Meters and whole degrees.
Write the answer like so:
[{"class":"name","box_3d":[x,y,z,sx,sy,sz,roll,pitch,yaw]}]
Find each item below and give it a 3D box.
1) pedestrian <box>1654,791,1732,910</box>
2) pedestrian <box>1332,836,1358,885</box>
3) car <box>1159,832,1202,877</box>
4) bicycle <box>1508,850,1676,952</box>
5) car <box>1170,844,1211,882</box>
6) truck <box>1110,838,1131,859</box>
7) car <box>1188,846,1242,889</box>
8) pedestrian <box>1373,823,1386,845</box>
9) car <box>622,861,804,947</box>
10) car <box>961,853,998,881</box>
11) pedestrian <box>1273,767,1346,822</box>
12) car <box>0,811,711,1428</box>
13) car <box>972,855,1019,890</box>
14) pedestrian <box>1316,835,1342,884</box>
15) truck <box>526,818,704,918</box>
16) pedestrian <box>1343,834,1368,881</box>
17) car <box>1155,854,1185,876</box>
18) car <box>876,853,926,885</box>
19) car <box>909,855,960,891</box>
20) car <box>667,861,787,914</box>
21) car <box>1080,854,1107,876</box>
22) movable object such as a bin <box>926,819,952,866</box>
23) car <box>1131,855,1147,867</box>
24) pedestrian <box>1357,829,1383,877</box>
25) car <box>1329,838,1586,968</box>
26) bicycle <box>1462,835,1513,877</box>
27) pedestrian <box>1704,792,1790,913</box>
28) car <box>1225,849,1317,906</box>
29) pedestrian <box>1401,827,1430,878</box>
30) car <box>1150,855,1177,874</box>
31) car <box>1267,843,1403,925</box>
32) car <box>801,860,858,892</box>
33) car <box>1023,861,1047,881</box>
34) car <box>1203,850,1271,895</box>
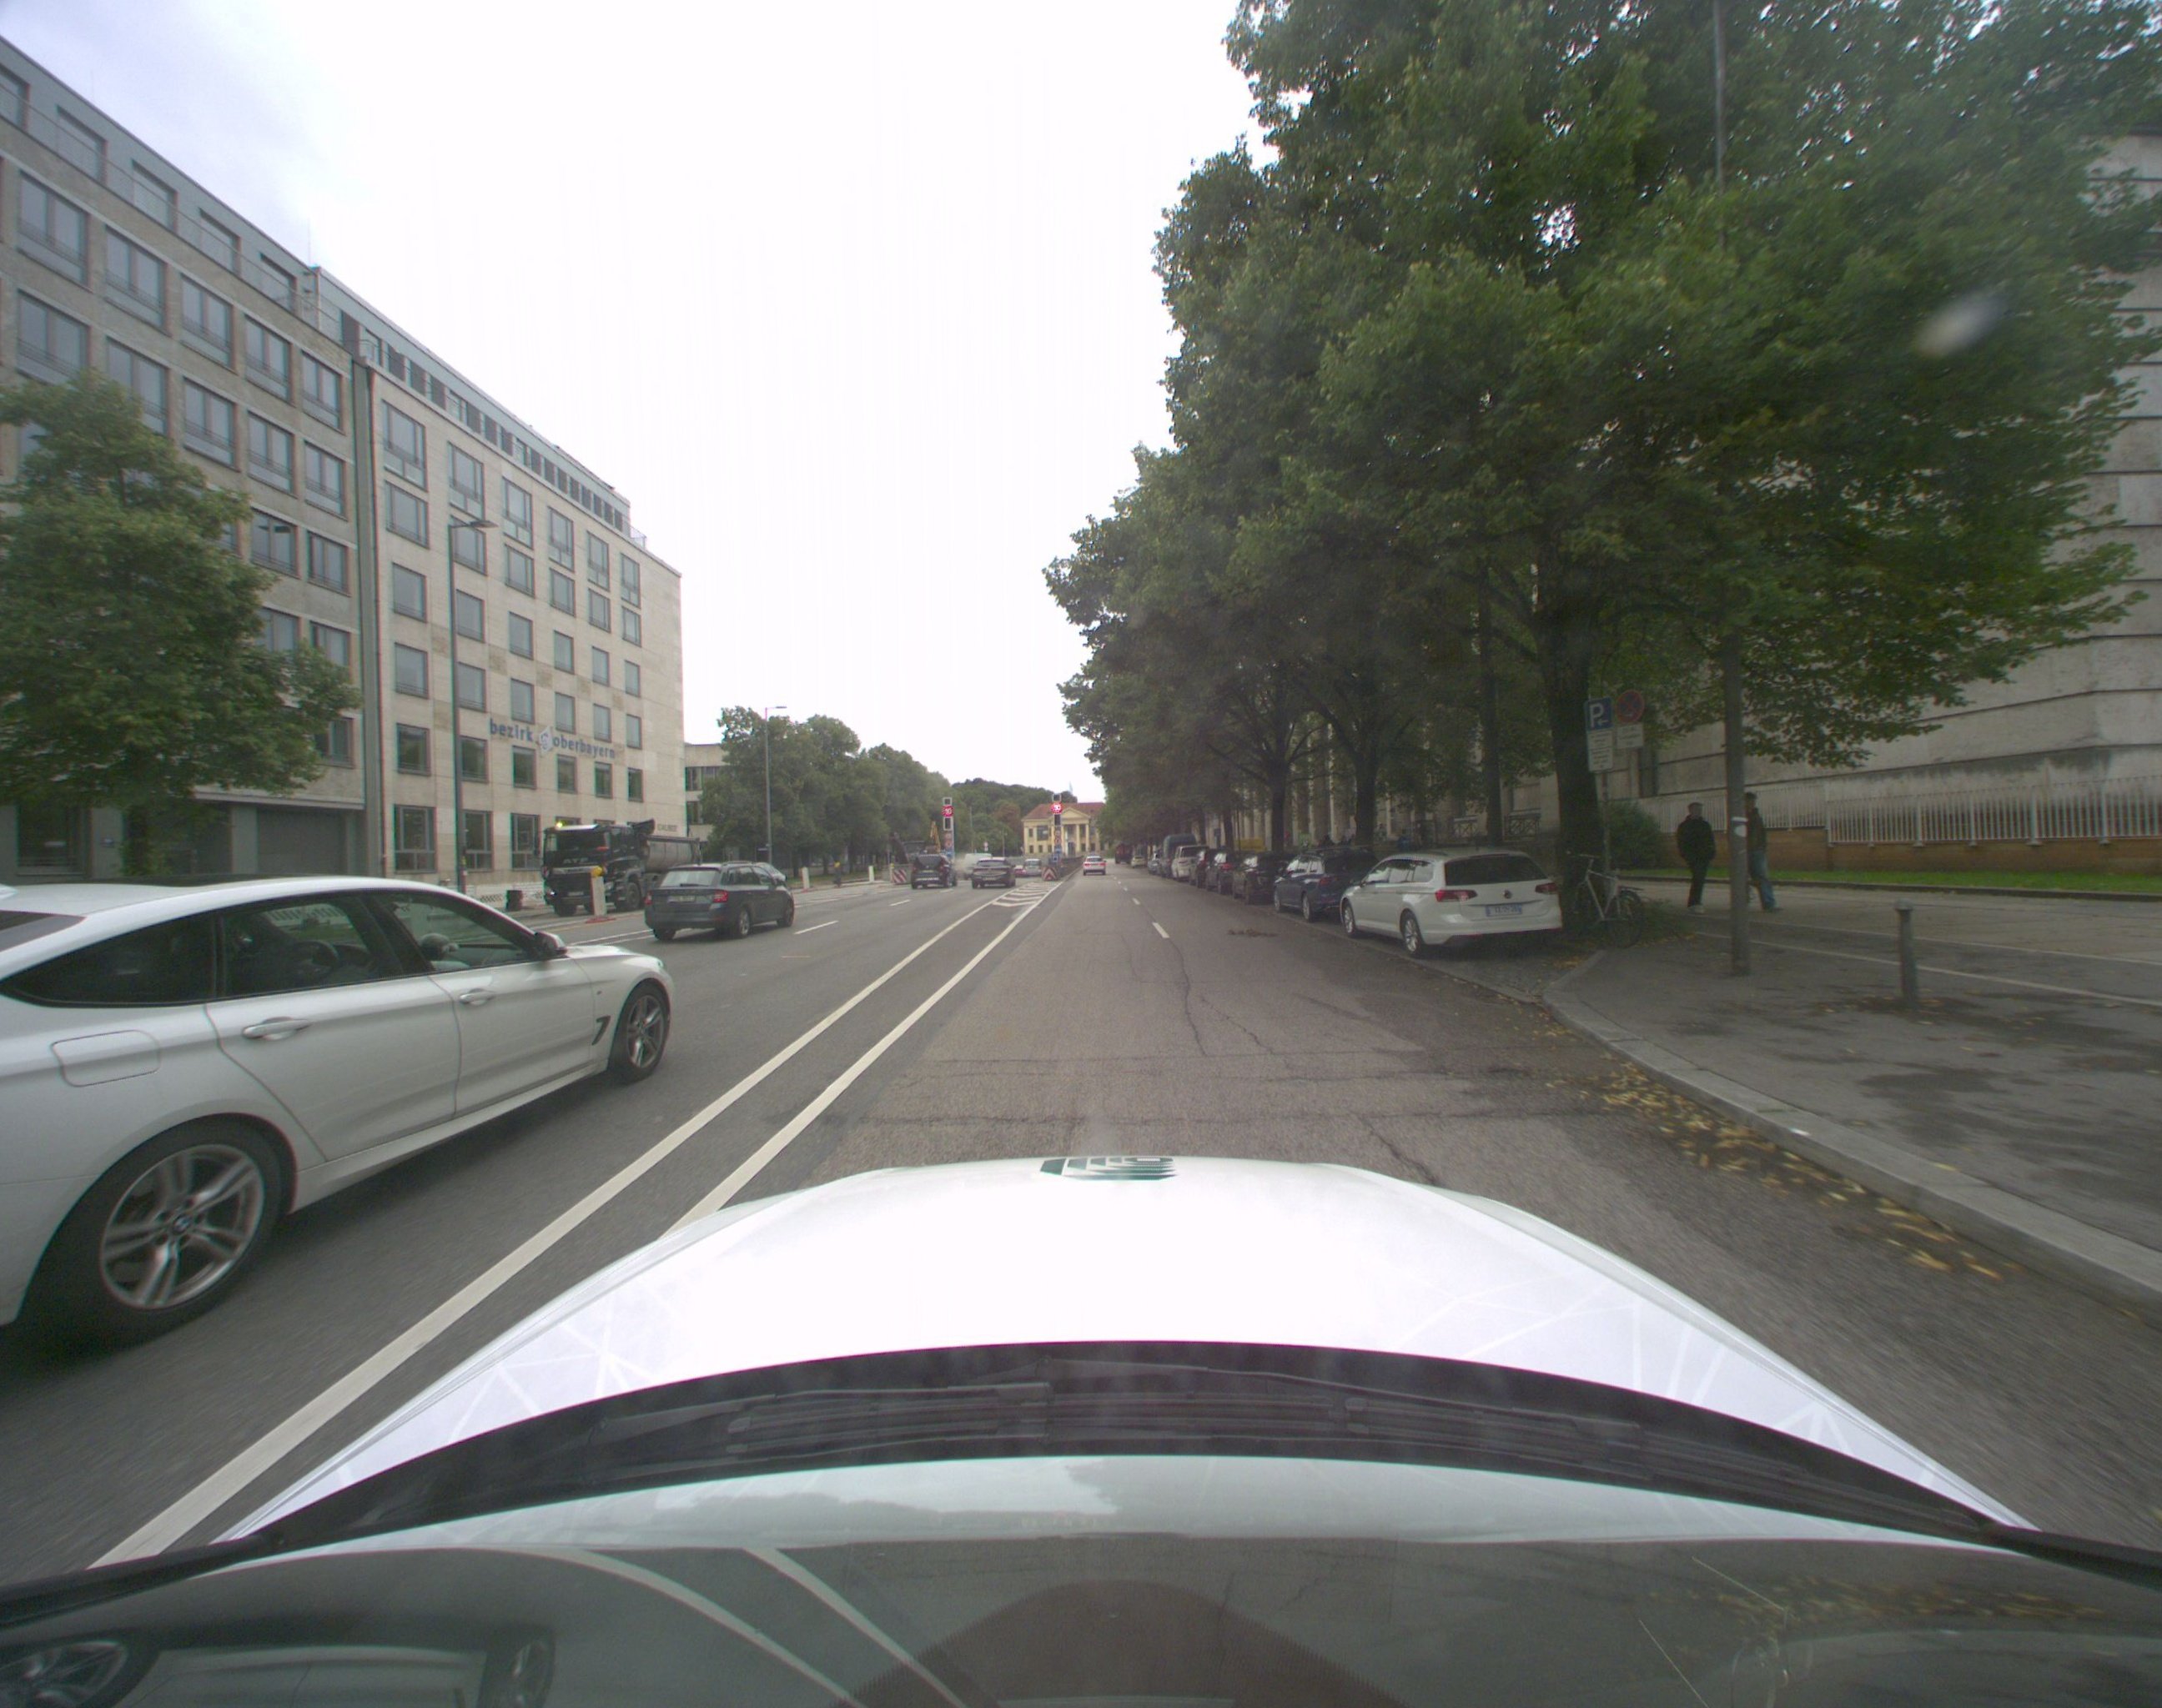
[{"class":"pedestrian","box_3d":[10.101,-0.058,13.470,0.696,1.910,0.771,-1,0,1]},{"class":"pedestrian","box_3d":[10.640,0.259,32.834,0.776,1.910,0.771,-1,0,1]},{"class":"car","box_3d":[6.102,0.010,50.408,1.987,2.643,4.877,-1,0,0]},{"class":"bicycle","box_3d":[6.875,0.565,11.165,0.626,1.231,2.617,-1,0,-1]},{"class":"car","box_3d":[5.822,0.475,43.661,1.718,1.867,4.029,-2,0,2]},{"class":"truck","box_3d":[6.490,-0.845,134.981,3.313,3.367,8.664,-1,0,1]},{"class":"car","box_3d":[5.762,0.550,35.483,1.718,1.665,4.591,-2,0,2]},{"class":"pedestrian","box_3d":[18.349,-1.219,50.055,0.564,1.373,0.646,-1,0,2]},{"class":"car","box_3d":[-7.301,0.911,16.687,1.787,1.447,4.273,-2,0,-1]},{"class":"car","box_3d":[-7.227,0.882,58.375,1.892,1.847,4.956,-2,0,1]},{"class":"pedestrian","box_3d":[9.550,-2.454,34.352,1.986,2.013,4.001,-1,0,1]},{"class":"car","box_3d":[-3.851,0.744,4.092,1.788,1.636,5.022,-2,0,-2]},{"class":"car","box_3d":[-4.040,0.835,39.001,1.704,1.552,4.001,-1,0,1]},{"class":"pedestrian","box_3d":[9.726,0.212,31.913,0.776,1.910,0.771,-1,0,1]},{"class":"truck","box_3d":[-17.702,0.454,31.816,2.838,3.357,8.742,-1,0,-7]},{"class":"pedestrian","box_3d":[11.396,0.142,33.814,0.776,1.910,0.771,-1,0,1]},{"class":"car","box_3d":[6.151,0.720,56.441,1.718,1.364,4.029,-2,0,2]},{"class":"car","box_3d":[-10.086,0.814,45.905,1.988,1.596,3.997,-2,0,-2]},{"class":"car","box_3d":[-7.248,0.926,40.655,1.717,1.636,4.205,-2,0,1]},{"class":"car","box_3d":[-11.435,1.009,26.748,1.872,1.465,5.209,-2,0,-3]},{"class":"car","box_3d":[0.980,0.829,64.591,1.776,1.644,3.994,-1,0,-4]},{"class":"movable object such as a bin","box_3d":[-20.353,-1.606,116.714,2.690,6.510,5.177,-1,0,1]},{"class":"car","box_3d":[6.874,0.763,97.202,1.718,1.324,4.029,-2,0,2]},{"class":"pedestrian","box_3d":[11.508,-0.041,32.466,0.776,1.910,0.771,-1,0,1]},{"class":"car","box_3d":[5.405,0.611,12.504,1.821,1.549,4.753,-2,0,2]},{"class":"bicycle","box_3d":[14.631,0.066,29.395,0.697,1.415,2.299,-2,0,1]},{"class":"pedestrian","box_3d":[10.874,-0.018,13.315,0.761,1.910,0.771,-1,0,1]},{"class":"car","box_3d":[5.544,0.632,24.333,1.718,1.464,4.778,-2,0,2]},{"class":"pedestrian","box_3d":[12.859,-0.054,31.336,0.776,1.910,0.771,-1,0,1]},{"class":"car","box_3d":[6.260,0.794,62.104,1.718,1.324,4.029,-2,0,2]},{"class":"car","box_3d":[5.520,0.597,18.340,1.718,1.549,4.587,-2,0,2]},{"class":"car","box_3d":[-13.824,1.185,44.982,1.988,1.596,3.997,-2,0,-2]},{"class":"car","box_3d":[-3.881,1.410,69.333,1.773,1.654,4.000,-1,0,1]},{"class":"car","box_3d":[5.653,0.622,30.005,1.816,1.464,4.029,-2,0,2]}]
